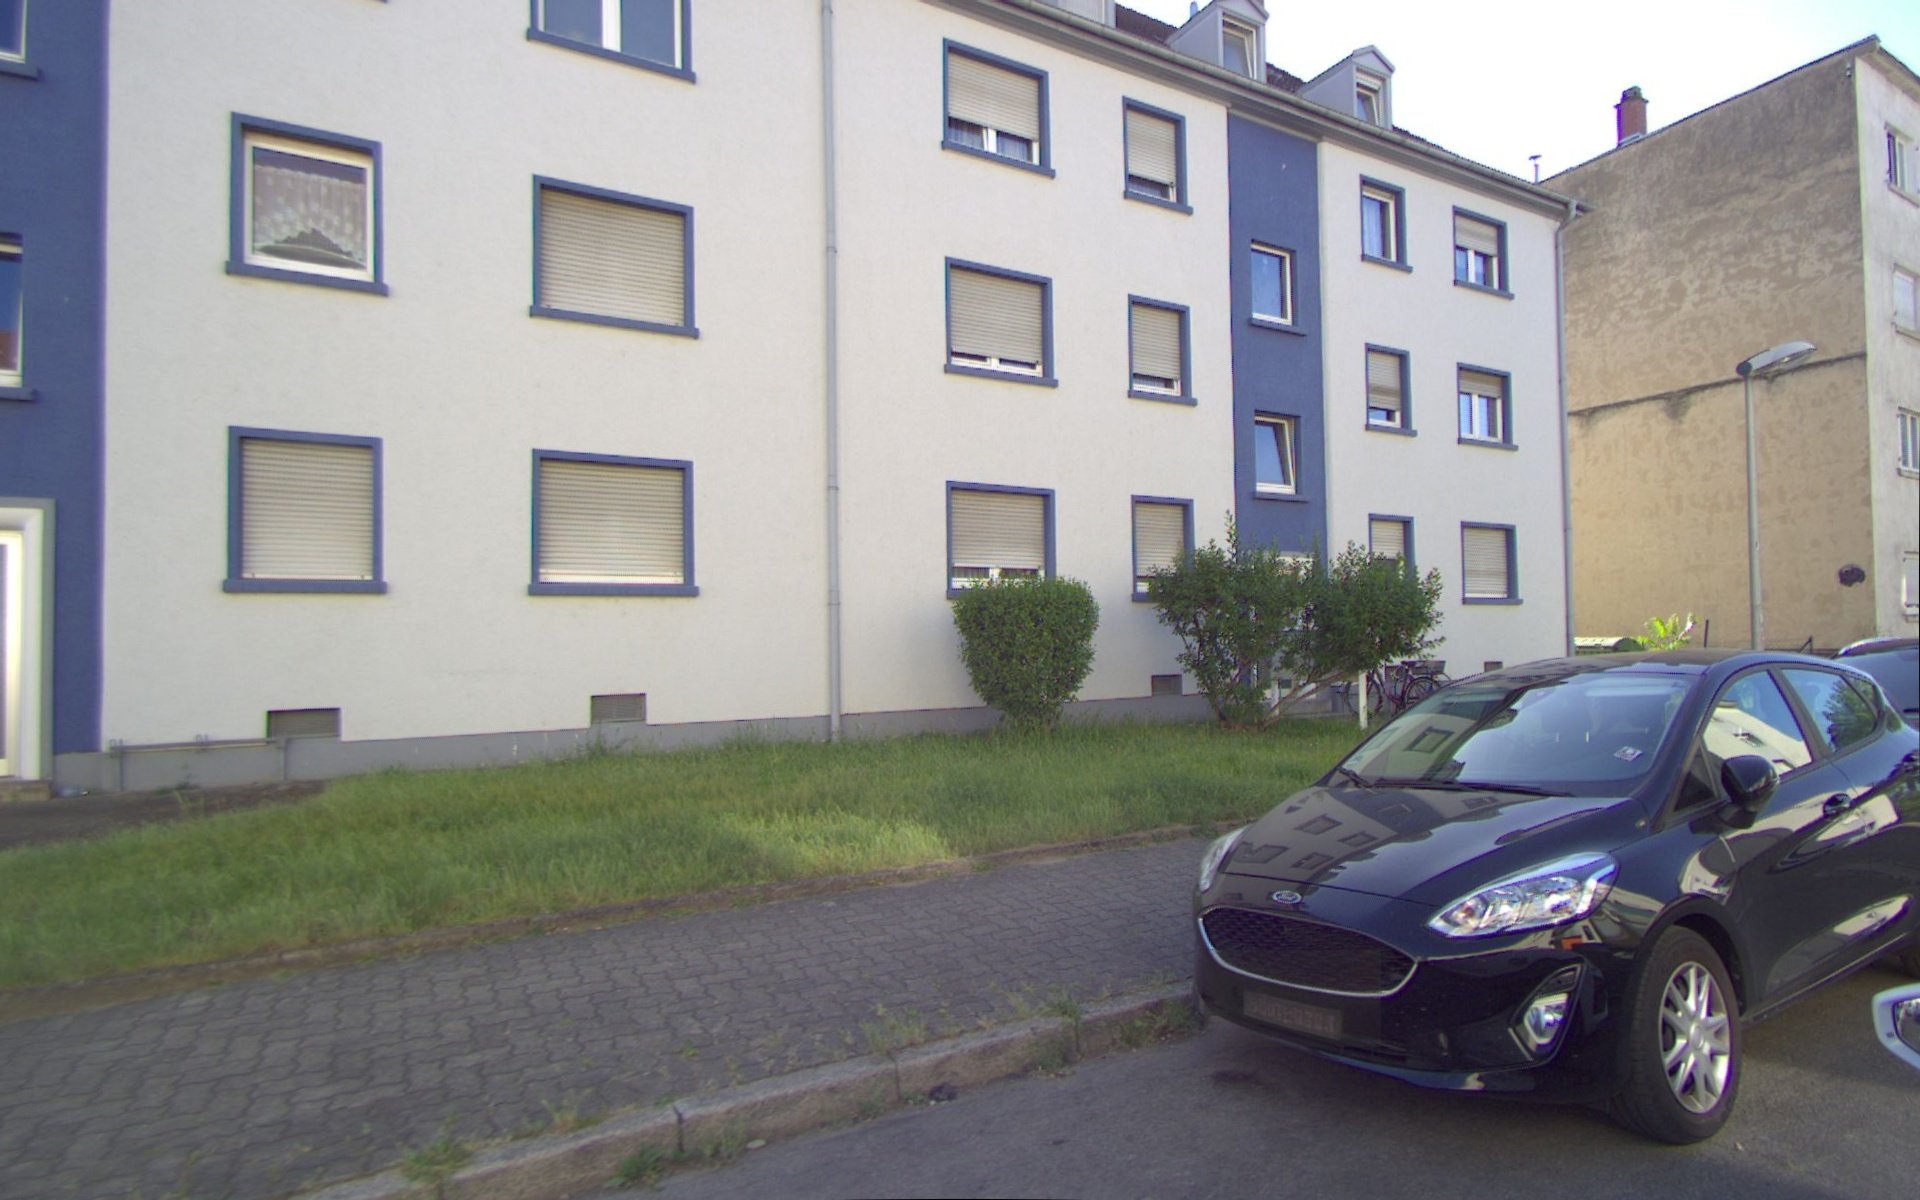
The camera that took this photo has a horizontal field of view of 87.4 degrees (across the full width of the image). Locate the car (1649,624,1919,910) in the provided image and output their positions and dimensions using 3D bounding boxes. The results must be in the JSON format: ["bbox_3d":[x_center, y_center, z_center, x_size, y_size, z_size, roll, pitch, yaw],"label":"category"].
[{"bbox_3d":[6.667,0.974,6.754,3.955,1.534,1.824,1,-6,-31],"label":"car"}]

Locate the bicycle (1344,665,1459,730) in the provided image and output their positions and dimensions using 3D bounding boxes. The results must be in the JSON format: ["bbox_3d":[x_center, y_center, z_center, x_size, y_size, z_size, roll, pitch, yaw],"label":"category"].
[{"bbox_3d":[6.900,1.527,15.773,0.541,0.948,1.641,1,-5,-28],"label":"bicycle"}]

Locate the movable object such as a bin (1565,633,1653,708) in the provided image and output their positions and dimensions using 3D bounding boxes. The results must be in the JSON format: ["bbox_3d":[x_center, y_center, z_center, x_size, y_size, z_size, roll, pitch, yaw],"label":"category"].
[{"bbox_3d":[14.078,1.537,21.804,1.343,1.559,1.062,2,-6,-33],"label":"movable object such as a bin"}]

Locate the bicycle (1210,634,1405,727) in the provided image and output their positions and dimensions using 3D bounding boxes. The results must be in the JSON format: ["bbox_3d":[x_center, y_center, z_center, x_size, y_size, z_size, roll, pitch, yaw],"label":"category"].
[{"bbox_3d":[4.807,1.075,14.134,0.766,1.145,2.650,1,-1,-36],"label":"bicycle"}]

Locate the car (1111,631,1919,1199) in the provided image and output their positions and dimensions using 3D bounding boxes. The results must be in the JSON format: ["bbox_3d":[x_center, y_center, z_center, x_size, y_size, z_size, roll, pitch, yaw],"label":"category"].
[{"bbox_3d":[2.674,0.923,4.257,3.827,1.462,1.651,1,-6,-31],"label":"car"}]
